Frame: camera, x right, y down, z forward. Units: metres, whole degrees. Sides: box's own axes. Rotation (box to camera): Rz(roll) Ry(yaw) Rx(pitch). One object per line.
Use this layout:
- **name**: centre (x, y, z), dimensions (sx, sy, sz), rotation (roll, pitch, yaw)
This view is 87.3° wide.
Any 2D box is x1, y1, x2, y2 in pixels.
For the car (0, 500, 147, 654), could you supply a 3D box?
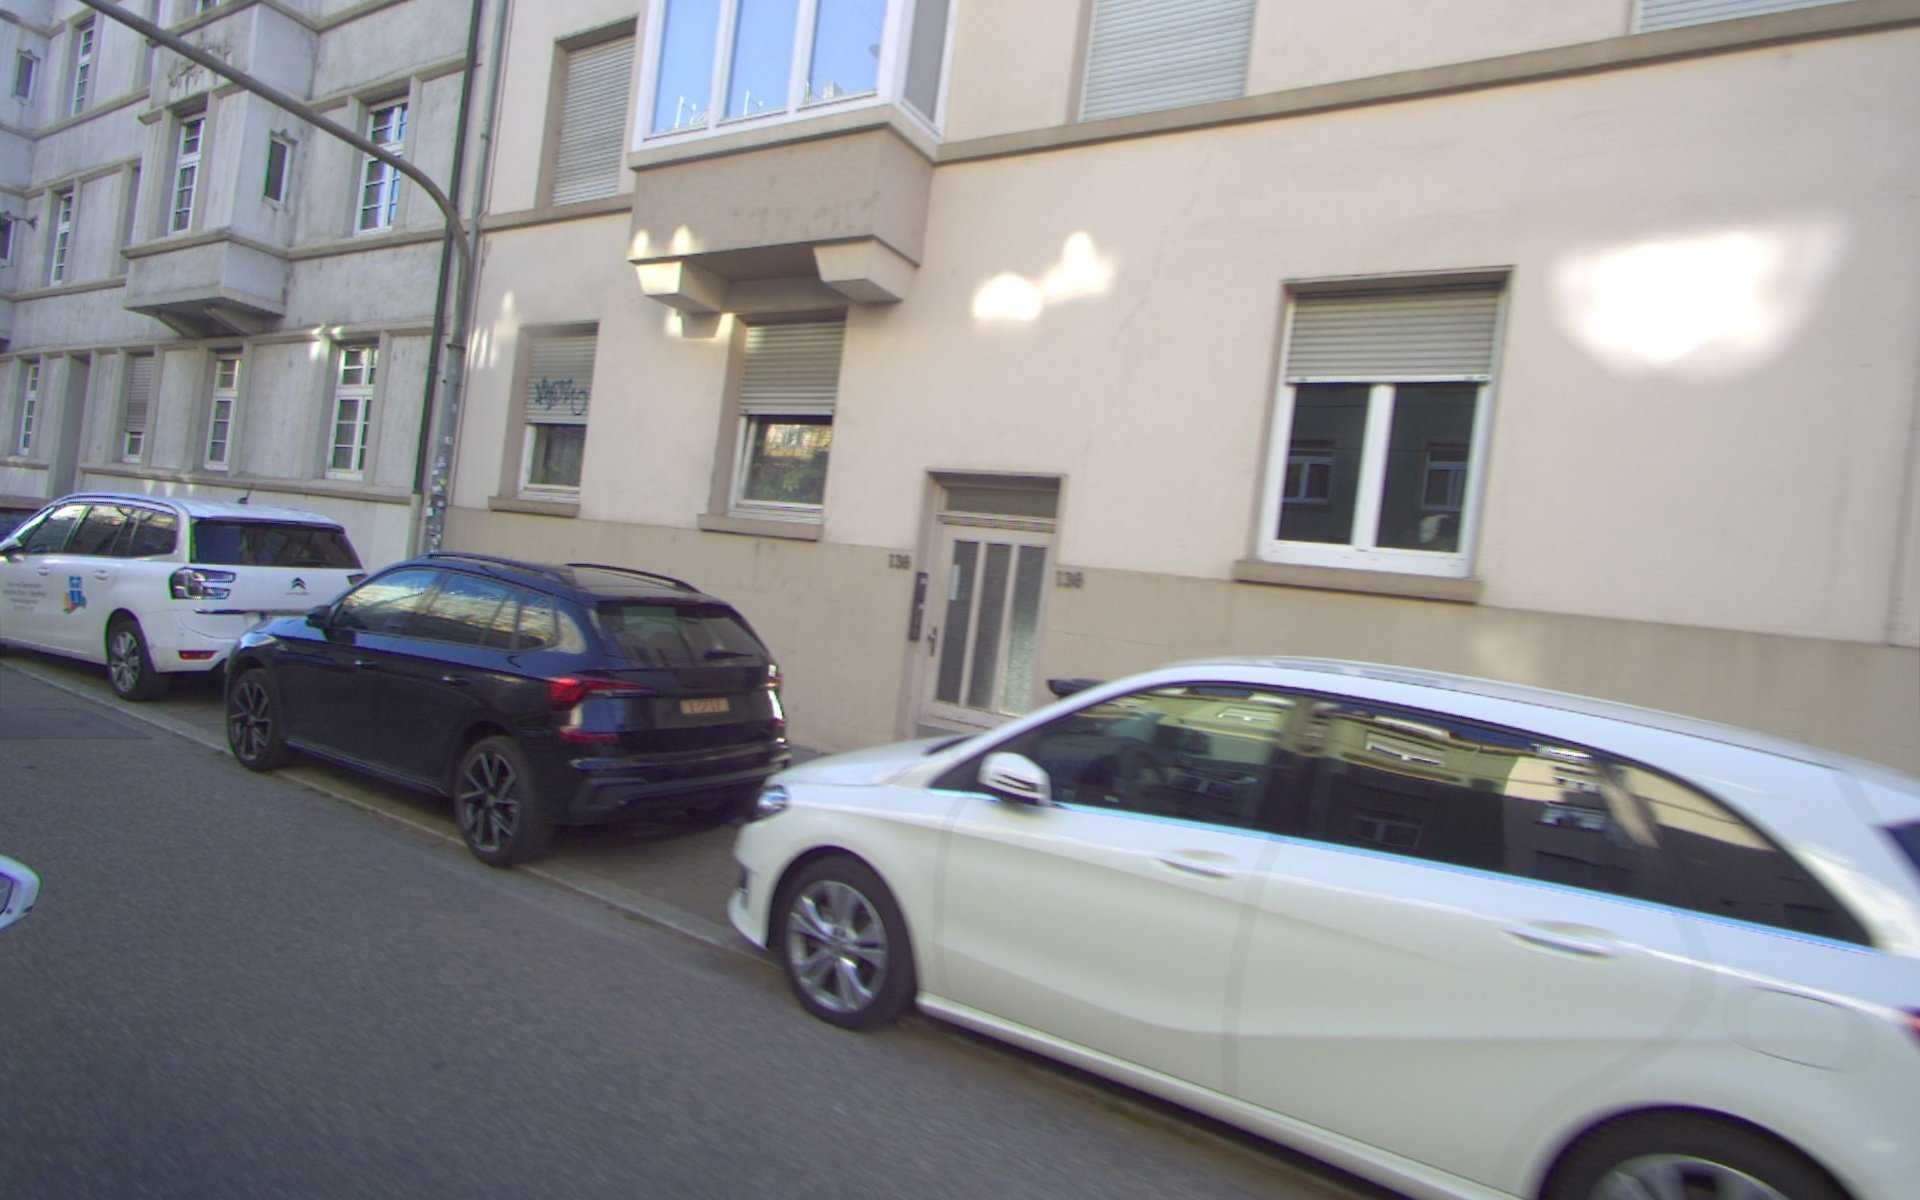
- **car**: centre (-11.426, -0.397, 11.919), dimensions (3.541, 1.579, 1.617), rotation (7, -1, 32)

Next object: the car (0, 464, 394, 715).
- **car**: centre (-7.588, -0.183, 9.417), dimensions (4.523, 1.773, 1.659), rotation (7, -1, 28)

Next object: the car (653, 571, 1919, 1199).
- **car**: centre (1.077, 0.957, 3.780), dimensions (4.255, 1.595, 1.786), rotation (7, -1, 32)

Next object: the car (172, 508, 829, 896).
- **car**: centre (-3.100, 0.438, 6.475), dimensions (4.266, 1.585, 1.657), rotation (7, -1, 32)
